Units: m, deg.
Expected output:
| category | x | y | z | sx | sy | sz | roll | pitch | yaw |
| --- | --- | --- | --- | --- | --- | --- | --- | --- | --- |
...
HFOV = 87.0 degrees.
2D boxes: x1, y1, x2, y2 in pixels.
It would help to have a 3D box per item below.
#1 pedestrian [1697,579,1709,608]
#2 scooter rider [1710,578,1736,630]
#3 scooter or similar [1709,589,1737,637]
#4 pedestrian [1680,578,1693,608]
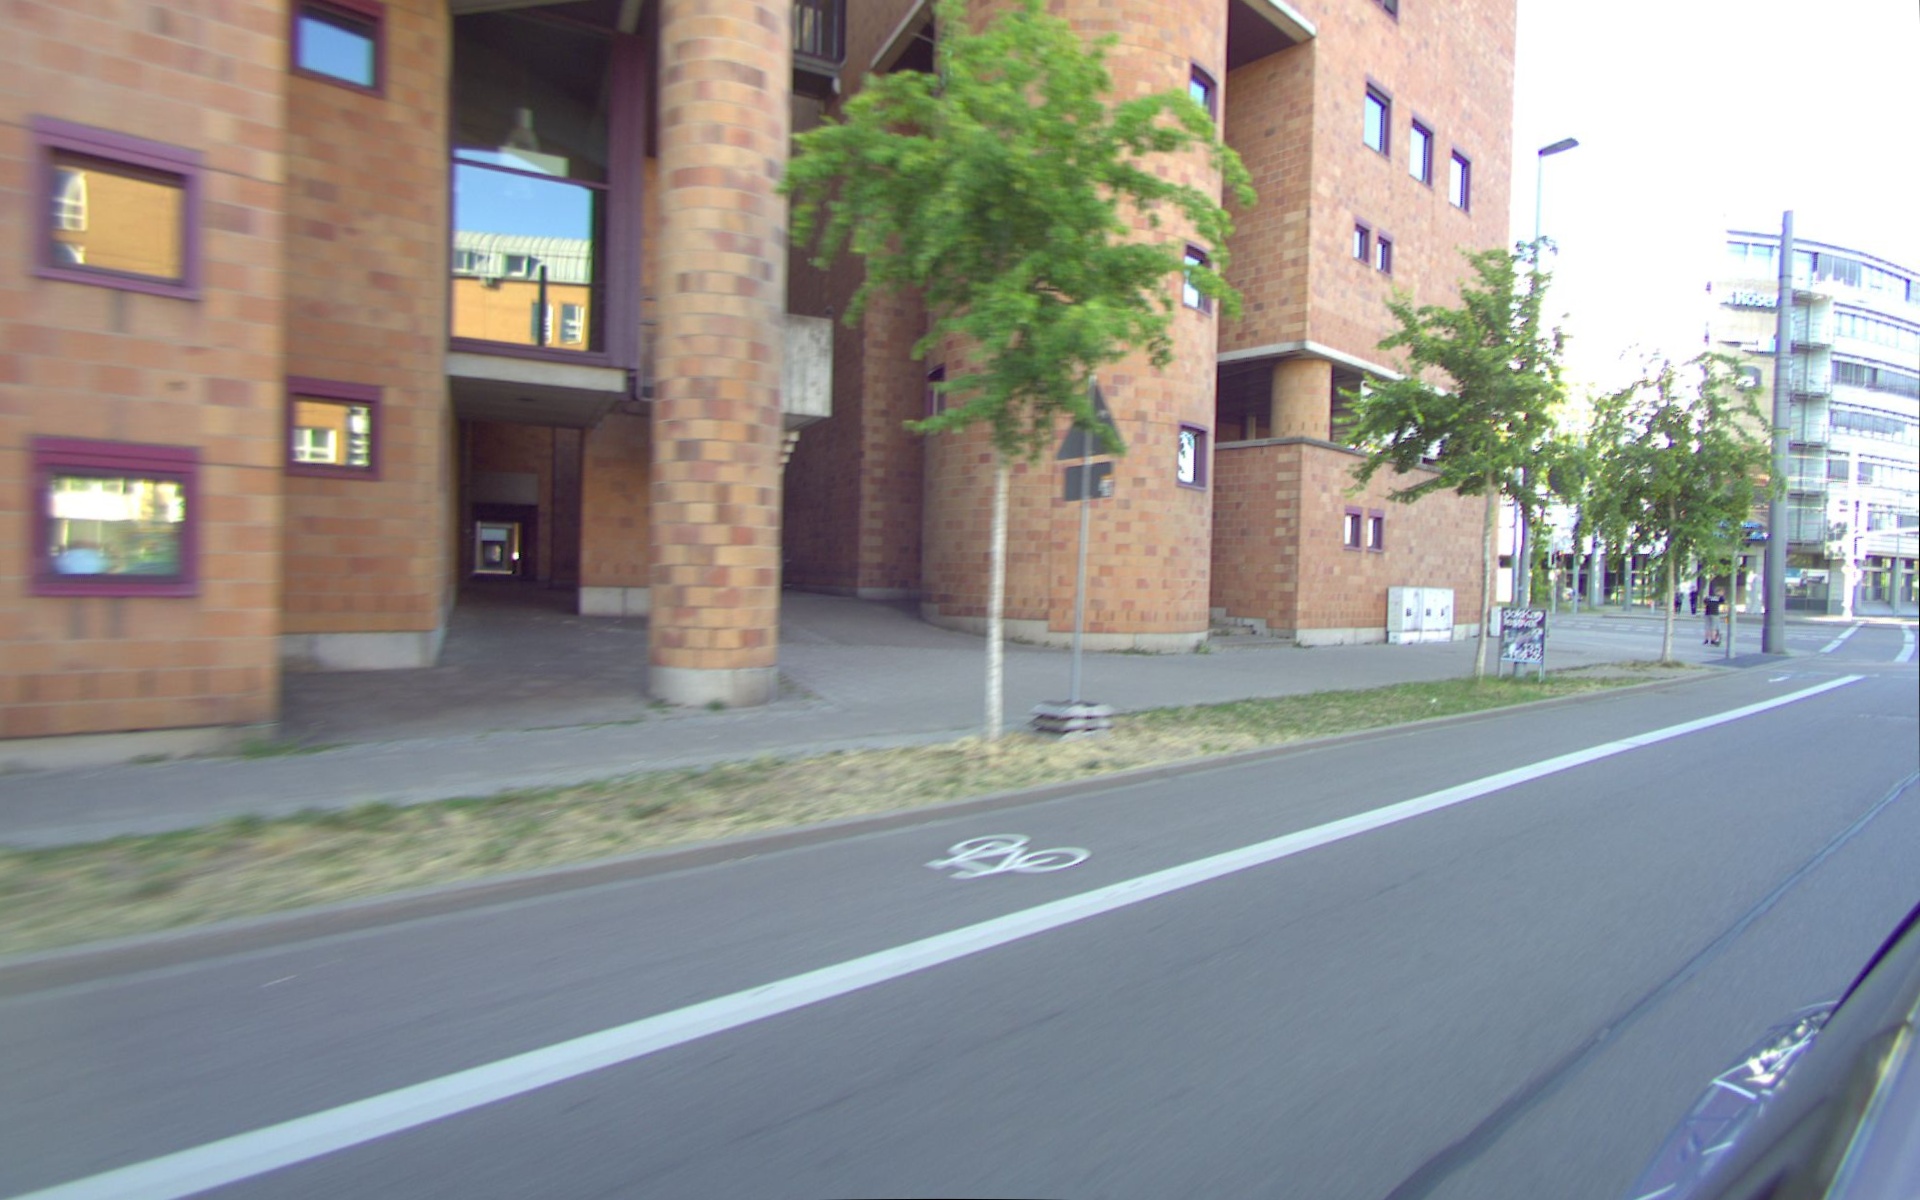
| category | x | y | z | sx | sy | sz | roll | pitch | yaw |
| --- | --- | --- | --- | --- | --- | --- | --- | --- | --- |
| pedestrian | 46.930 | -0.406 | 63.929 | 0.544 | 1.846 | 0.369 | 2 | 2 | 38 |
| scooter rider | 22.215 | 0.098 | 29.452 | 0.506 | 1.479 | 0.711 | 2 | 2 | 42 |
| scooter or similar | 22.176 | 0.371 | 29.415 | 0.527 | 1.334 | 1.115 | 2 | 2 | 42 |
| pedestrian | 46.292 | -0.442 | 64.464 | 0.586 | 1.846 | 0.537 | 2 | 2 | 38 |
